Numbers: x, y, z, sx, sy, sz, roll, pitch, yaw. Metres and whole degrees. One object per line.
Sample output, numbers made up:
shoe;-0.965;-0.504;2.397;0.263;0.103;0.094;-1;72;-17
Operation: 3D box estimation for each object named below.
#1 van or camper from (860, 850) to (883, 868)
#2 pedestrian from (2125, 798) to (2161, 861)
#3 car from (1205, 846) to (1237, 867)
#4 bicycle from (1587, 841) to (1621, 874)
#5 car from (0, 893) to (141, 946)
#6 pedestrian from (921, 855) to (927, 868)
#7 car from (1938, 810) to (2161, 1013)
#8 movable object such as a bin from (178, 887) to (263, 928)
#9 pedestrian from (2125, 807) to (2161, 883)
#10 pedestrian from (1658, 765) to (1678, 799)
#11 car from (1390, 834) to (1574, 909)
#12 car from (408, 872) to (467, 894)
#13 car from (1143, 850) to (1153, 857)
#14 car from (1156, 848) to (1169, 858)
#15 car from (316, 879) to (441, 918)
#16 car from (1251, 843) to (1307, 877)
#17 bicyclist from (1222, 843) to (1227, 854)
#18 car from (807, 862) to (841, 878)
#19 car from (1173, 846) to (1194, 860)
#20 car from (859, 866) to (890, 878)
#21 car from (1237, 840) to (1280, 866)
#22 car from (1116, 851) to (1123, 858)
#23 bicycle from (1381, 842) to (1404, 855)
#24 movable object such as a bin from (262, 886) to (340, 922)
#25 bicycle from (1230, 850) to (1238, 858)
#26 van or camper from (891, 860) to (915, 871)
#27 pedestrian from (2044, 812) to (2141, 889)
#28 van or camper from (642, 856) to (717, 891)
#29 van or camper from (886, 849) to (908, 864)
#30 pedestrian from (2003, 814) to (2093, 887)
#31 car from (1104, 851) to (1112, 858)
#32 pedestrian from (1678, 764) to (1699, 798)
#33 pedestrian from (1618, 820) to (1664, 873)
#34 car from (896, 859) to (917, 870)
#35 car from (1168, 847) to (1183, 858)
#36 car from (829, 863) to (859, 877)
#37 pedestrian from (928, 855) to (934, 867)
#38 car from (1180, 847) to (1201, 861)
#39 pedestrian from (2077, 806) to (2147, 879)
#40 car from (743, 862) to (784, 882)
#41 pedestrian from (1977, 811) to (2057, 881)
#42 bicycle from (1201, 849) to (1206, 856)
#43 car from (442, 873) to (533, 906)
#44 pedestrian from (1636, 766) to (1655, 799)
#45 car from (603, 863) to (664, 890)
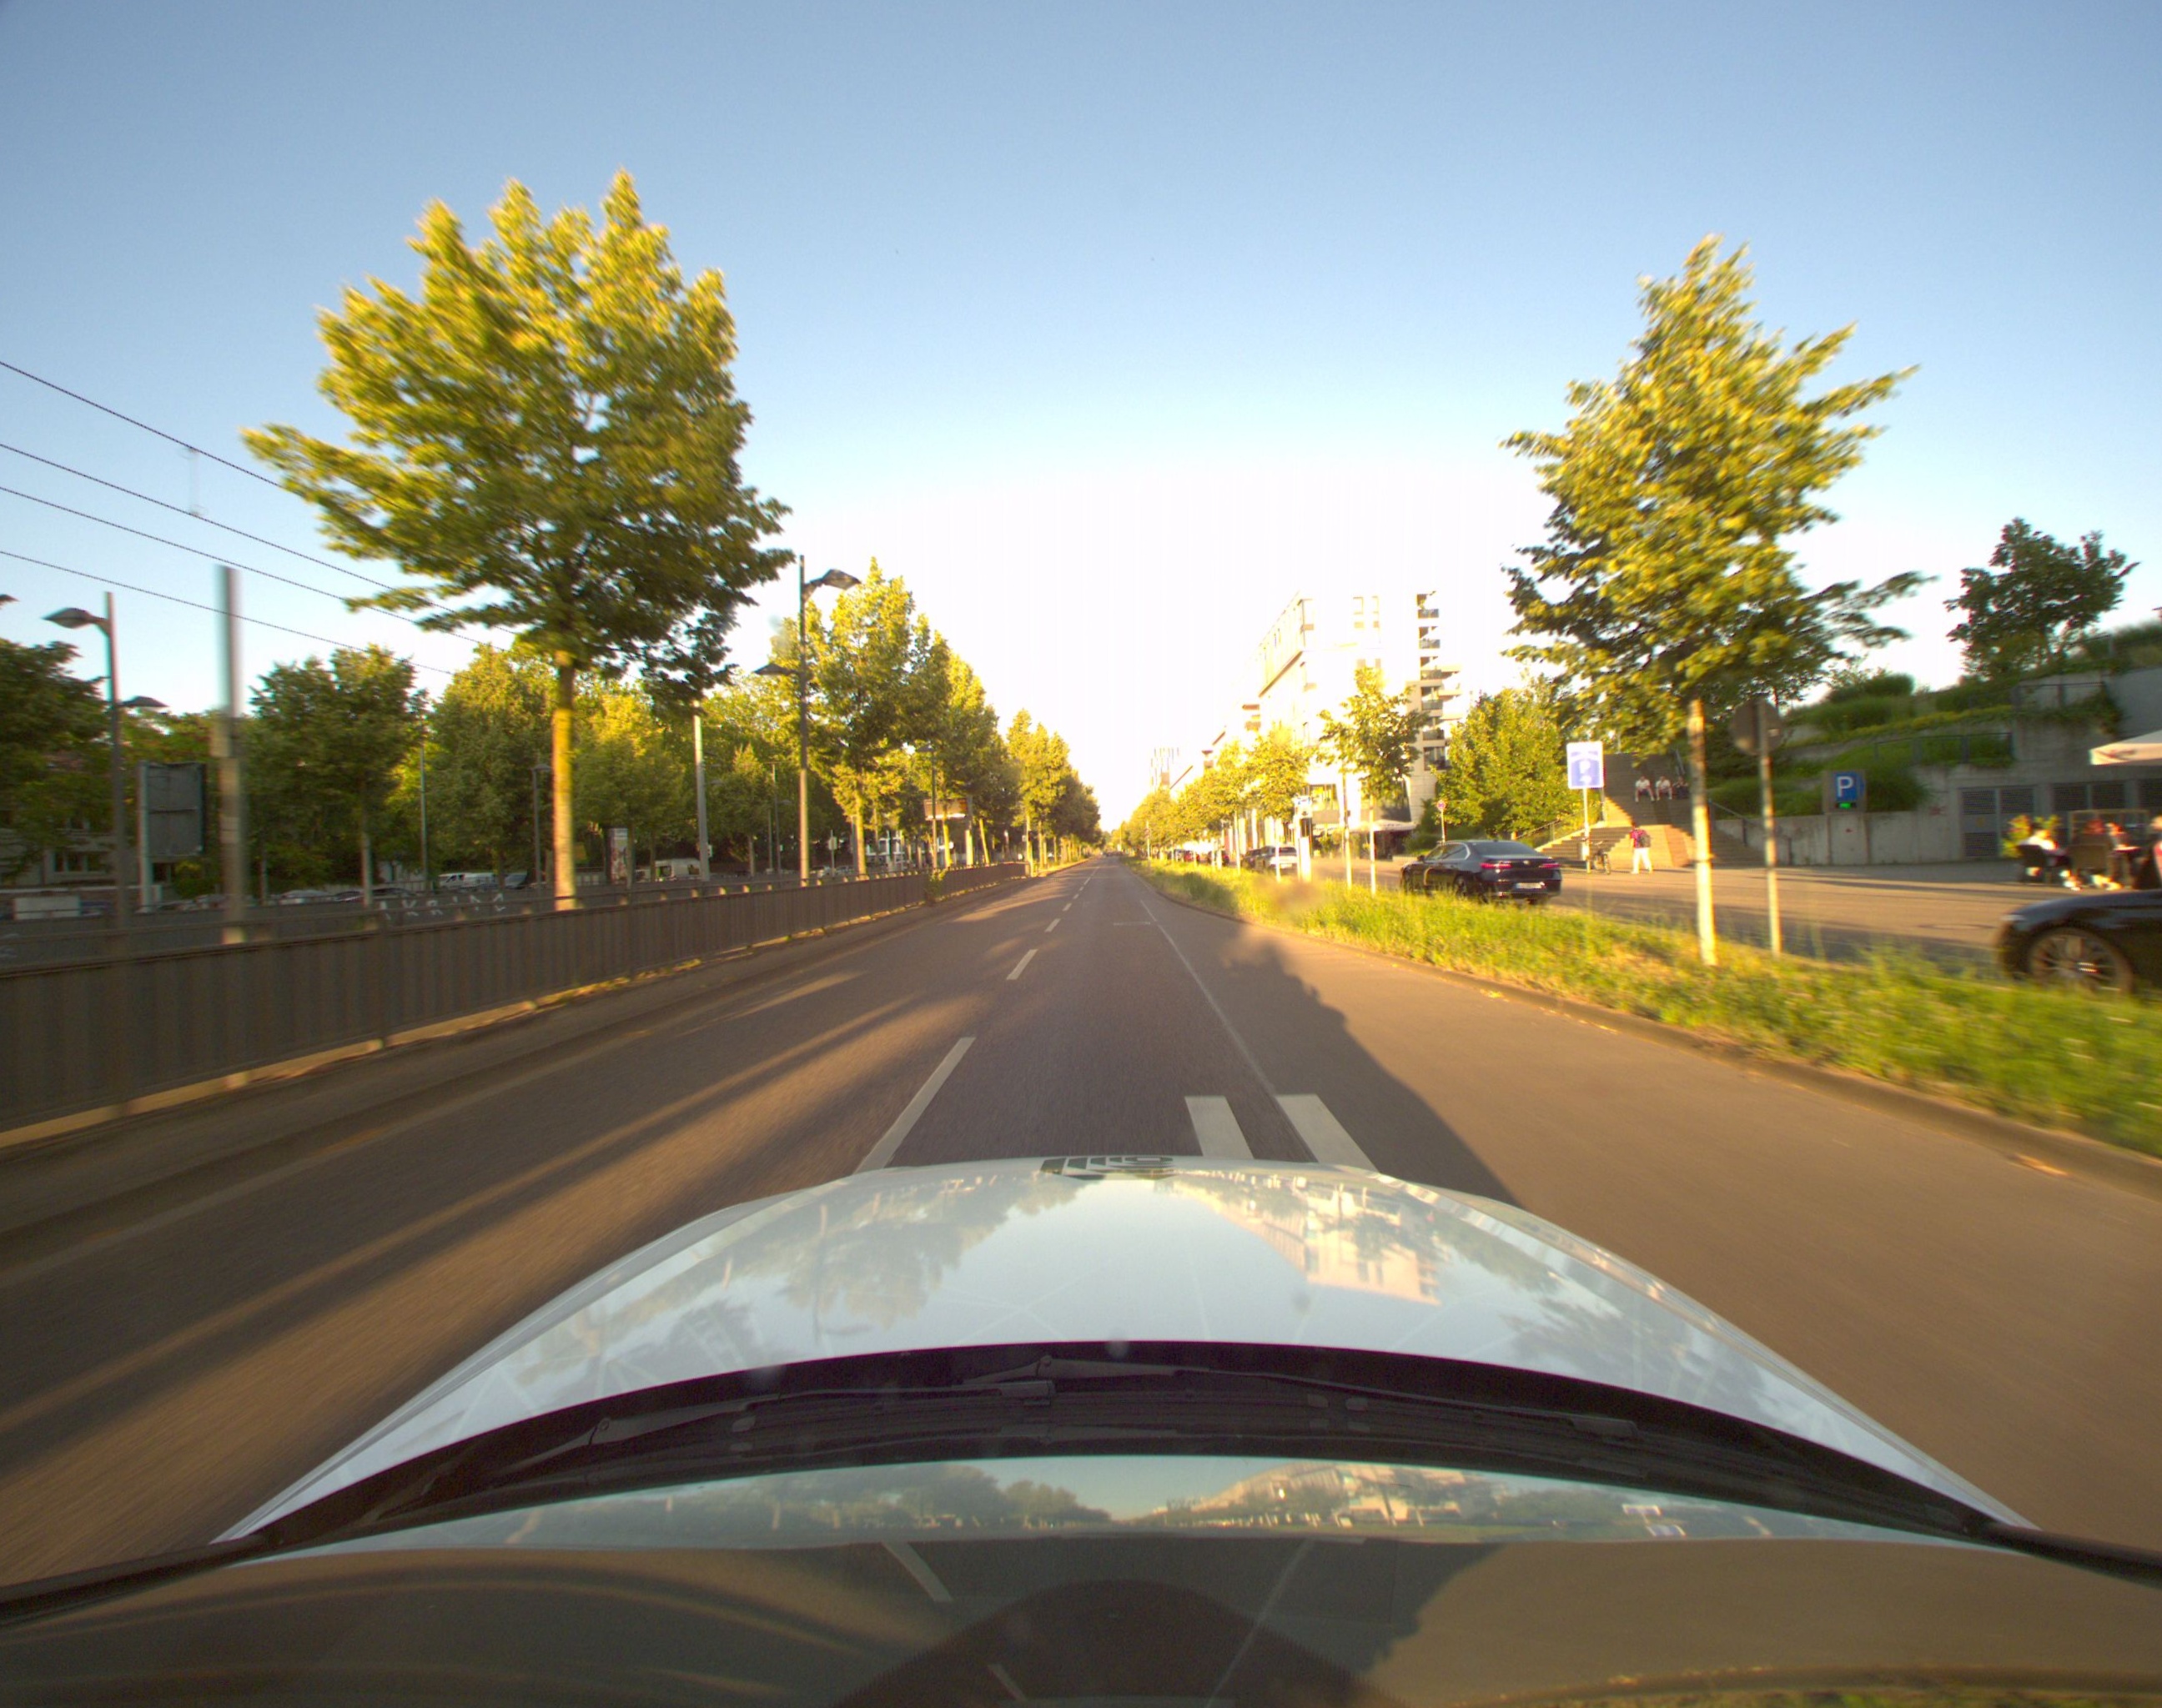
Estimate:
van or camper;-33.197;0.798;129.363;2.078;2.735;5.495;-3;0;1
pedestrian;21.927;-0.499;16.413;0.740;1.265;0.771;-2;0;2
car;11.157;0.188;65.202;1.802;1.501;4.369;-2;0;1
bicycle;17.455;0.091;27.189;0.538;1.043;1.923;-2;0;21
car;-34.070;2.125;26.558;1.985;1.448;4.004;-2;0;3
pedestrian;-23.246;1.058;120.548;0.692;1.870;0.864;-2;0;-6
car;8.852;0.396;5.336;1.802;1.501;4.480;-2;0;1
movable object such as a bin;-33.183;2.063;31.460;1.402;1.411;1.703;-2;0;3
pedestrian;19.052;-0.167;14.279;0.683;1.290;0.626;-4;0;-11
pedestrian;25.399;-3.116;35.231;0.661;1.381;0.832;-1;1;33
car;9.499;0.353;19.911;1.912;1.501;5.412;-2;0;1
car;-58.229;2.612;73.808;1.986;1.750;4.002;-2;0;2
car;14.937;-0.167;181.705;1.937;1.549;4.811;-2;0;0
car;13.695;-0.169;137.604;1.802;1.501;4.827;-2;0;1
car;-33.068;2.073;38.517;1.985;1.500;4.303;-2;0;3
car;10.207;0.273;42.339;1.802;1.632;4.677;-2;0;1
bicyclist;21.751;-0.868;123.466;0.542;1.568;1.021;-2;0;5
car;-27.534;1.722;87.365;1.985;1.499;4.560;-3;0;3
car;12.190;-0.106;96.791;1.914;1.501;5.011;-2;0;1
car;-25.867;2.220;102.150;1.983;1.315;5.151;-3;0;6
car;10.349;-0.075;47.706;1.743;1.398;4.001;-1;0;1
car;11.634;0.111;248.100;1.986;2.013;4.001;-2;0;1
bicycle;27.574;-0.505;72.086;1.790;1.107;0.500;-3;0;-2
movable object such as a bin;-32.849;2.091;34.356;1.546;1.372;1.726;-2;0;3
bicycle;19.229;0.000;102.493;0.618;1.033;2.261;-3;0;1
van or camper;-32.671;2.024;149.583;3.985;1.791;1.994;-3;0;-9
pedestrian;18.124;-0.065;14.608;0.771;1.290;0.686;-4;0;8
van or camper;-30.707;1.437;62.598;2.272;2.365;5.794;-2;0;7
van or camper;-39.768;0.420;175.991;2.697;3.085;6.272;-2;0;6
pedestrian;18.244;-0.069;15.379;0.776;1.290;0.686;-4;0;8
car;8.039;0.187;243.539;2.080;2.013;4.001;-2;0;1
pedestrian;26.021;-3.113;34.885;0.661;1.381;0.832;-1;0;33
pedestrian;18.101;-0.254;26.351;0.692;1.654;1.079;-2;0;1
car;-26.488;1.621;123.918;1.984;1.486;4.006;-2;0;5
car;12.865;-0.188;111.513;1.717;1.501;4.235;-1;0;2
car;-27.034;1.834;93.169;1.892;1.499;4.310;-3;0;3
pedestrian;-22.309;1.091;120.988;0.691;1.743;0.866;-3;0;0
car;11.963;-0.013;88.872;1.802;1.501;3.960;-2;0;1
pedestrian;19.225;-0.218;15.191;0.665;1.290;0.678;-4;0;-31
car;-29.025;1.596;74.605;1.985;1.640;4.003;-2;0;3
pedestrian;19.058;-0.167;16.591;0.743;1.367;0.768;-2;0;-10
bicycle;21.272;-0.312;141.048;0.536;1.164;1.782;-4;0;3
car;-32.319;1.882;44.501;1.802;1.531;4.057;-2;0;3
pedestrian;24.750;-3.116;35.693;0.661;1.381;0.832;-1;0;33
car;-38.738;1.910;70.672;1.984;2.013;5.066;-2;0;5
